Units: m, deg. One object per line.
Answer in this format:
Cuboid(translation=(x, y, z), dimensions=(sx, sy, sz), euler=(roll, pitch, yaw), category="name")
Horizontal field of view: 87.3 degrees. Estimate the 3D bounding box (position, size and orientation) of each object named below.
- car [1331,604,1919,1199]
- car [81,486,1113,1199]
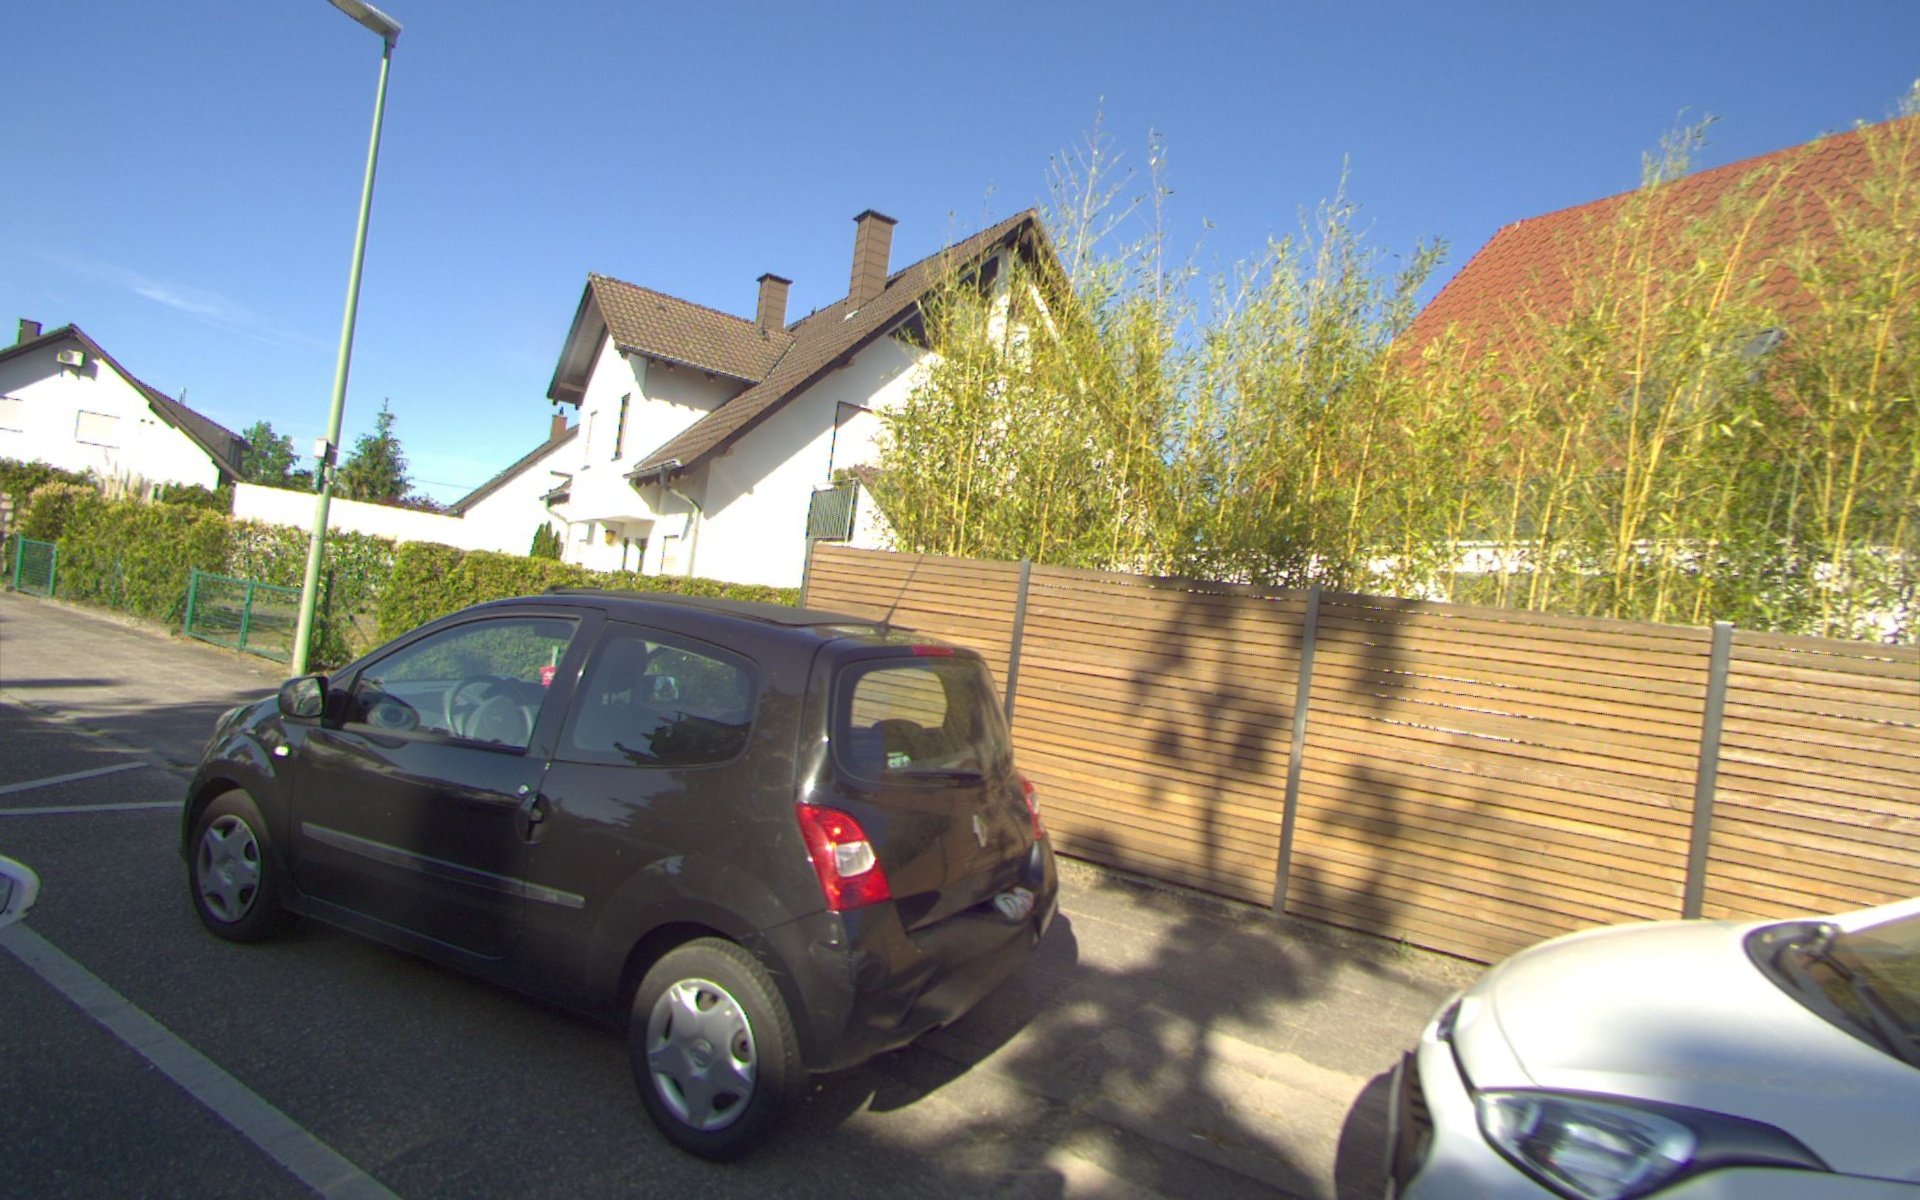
Cuboid(translation=(2.723, 1.097, 1.676), dimensions=(3.750, 1.619, 1.729), euler=(7, -2, 28), category="car")
Cuboid(translation=(-1.528, 0.612, 4.046), dimensions=(3.750, 1.619, 1.661), euler=(7, -2, 28), category="car")
